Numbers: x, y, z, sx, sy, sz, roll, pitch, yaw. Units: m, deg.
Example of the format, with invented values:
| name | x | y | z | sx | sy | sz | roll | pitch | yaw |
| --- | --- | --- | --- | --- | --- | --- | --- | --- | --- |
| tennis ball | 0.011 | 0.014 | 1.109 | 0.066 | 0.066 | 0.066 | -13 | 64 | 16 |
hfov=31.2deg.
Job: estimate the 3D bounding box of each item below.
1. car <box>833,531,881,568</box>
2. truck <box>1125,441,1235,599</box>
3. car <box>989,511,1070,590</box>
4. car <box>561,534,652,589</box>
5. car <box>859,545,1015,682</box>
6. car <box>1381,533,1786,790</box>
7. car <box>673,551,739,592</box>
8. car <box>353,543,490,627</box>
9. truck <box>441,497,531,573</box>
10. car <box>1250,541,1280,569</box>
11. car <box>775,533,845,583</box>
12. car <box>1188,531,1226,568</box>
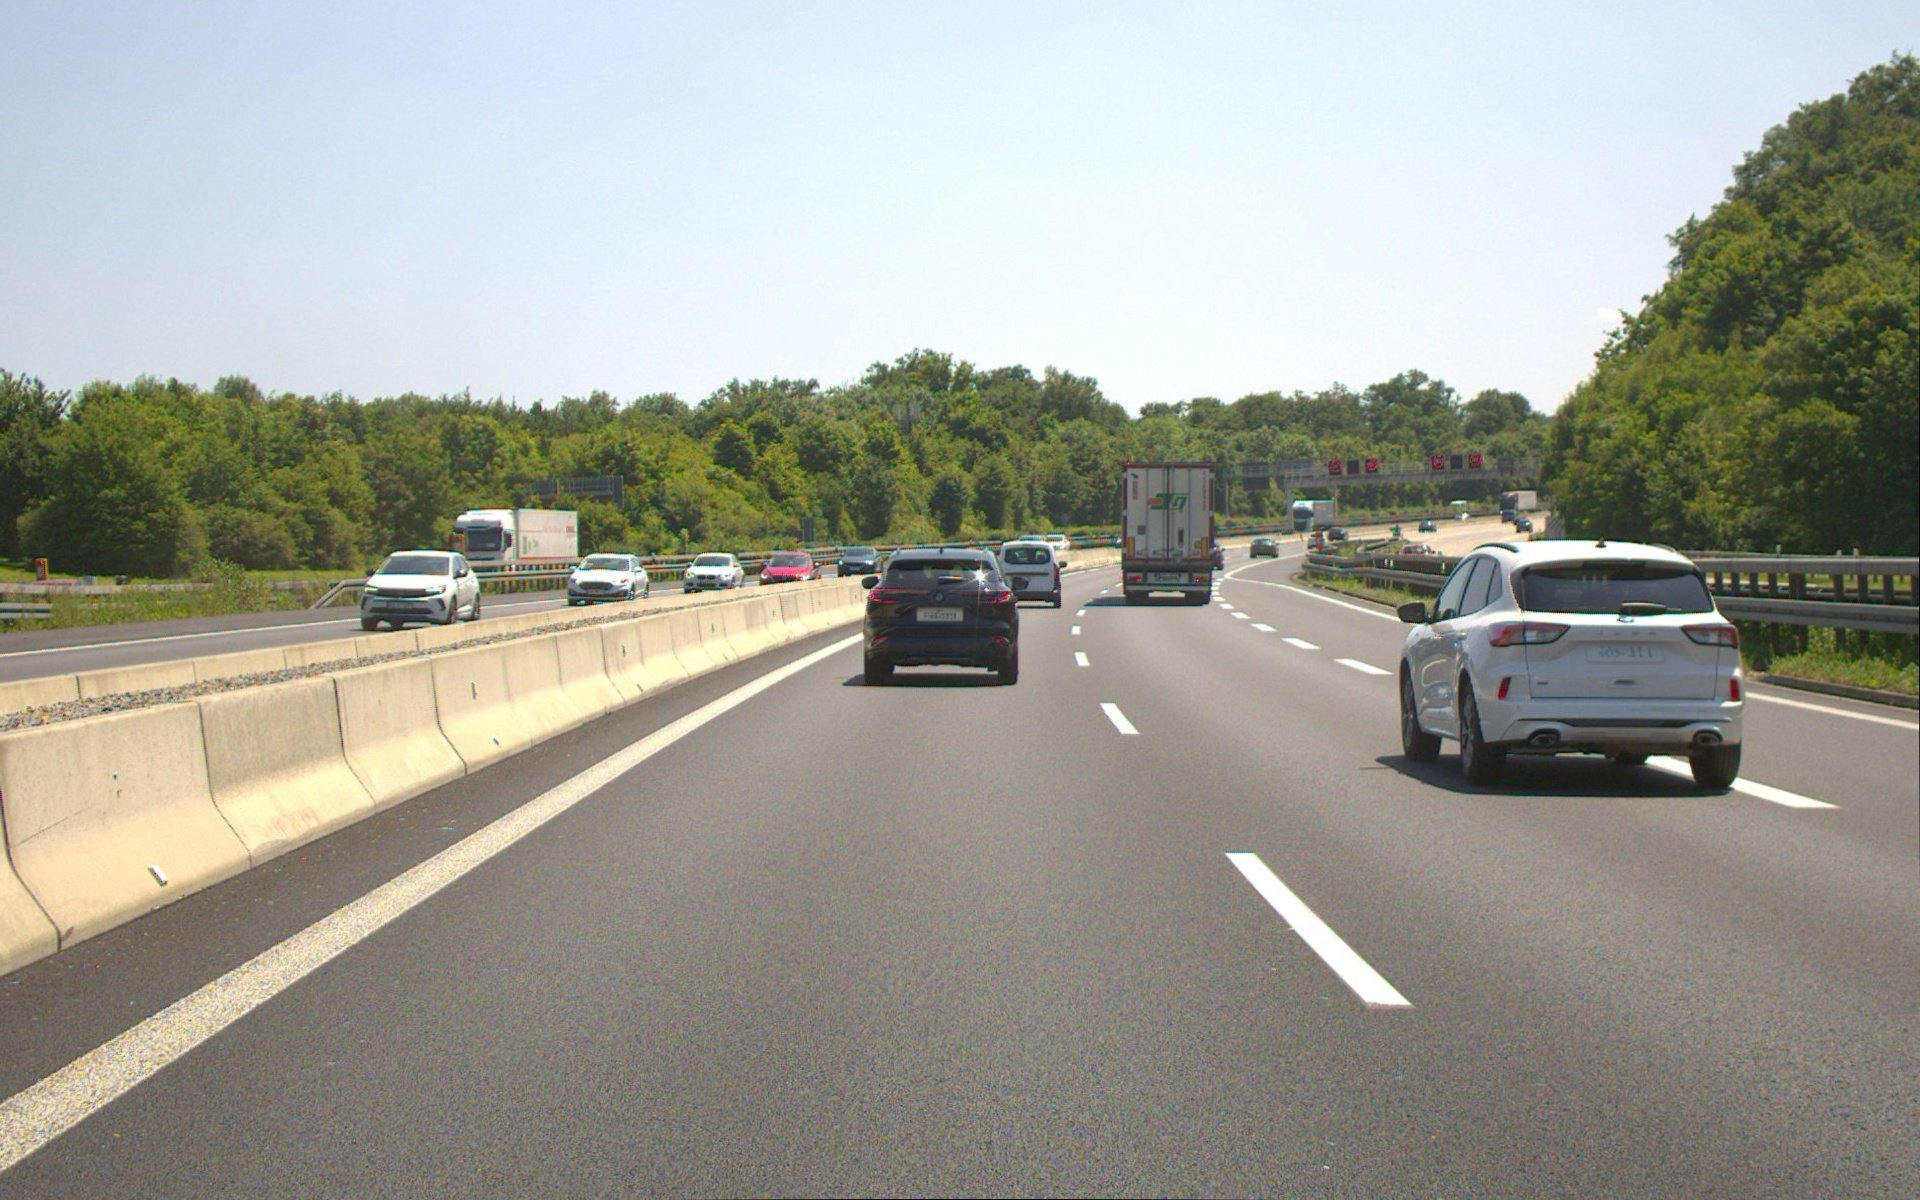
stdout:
| name | x | y | z | sx | sy | sz | roll | pitch | yaw |
| --- | --- | --- | --- | --- | --- | --- | --- | --- | --- |
| car | -5.030 | -2.470 | 168.653 | 1.994 | 1.818 | 4.905 | 0 | 1 | 3 |
| truck | 6.407 | -2.281 | 101.790 | 3.032 | 4.403 | 12.018 | 0 | 1 | 3 |
| car | 1.910 | -1.358 | 93.458 | 1.994 | 2.007 | 4.000 | -3 | 1 | 3 |
| car | -10.223 | -1.115 | 99.702 | 1.993 | 1.538 | 5.041 | 0 | 1 | 1 |
| car | -0.324 | 0.136 | 41.472 | 1.779 | 1.572 | 4.000 | 0 | 0 | -2 |
| car | 4.300 | 0.377 | 24.428 | 1.993 | 1.656 | 4.468 | 0 | 1 | -1 |
| car | -9.135 | -1.049 | 123.879 | 1.850 | 1.390 | 4.000 | 1 | 1 | 3 |
| car | -11.017 | -0.311 | 70.611 | 1.868 | 1.660 | 4.663 | 0 | 1 | 3 |
| truck | -22.081 | -2.995 | 160.408 | 3.083 | 3.491 | 5.409 | 0 | 0 | 5 |
| car | 21.962 | -3.238 | 247.599 | 1.994 | 2.007 | 3.999 | 0 | 0 | 8 |
| car | -5.018 | -1.413 | 115.679 | 1.993 | 1.653 | 4.634 | 0 | 1 | 2 |
| car | 13.661 | -2.767 | 190.414 | 1.994 | 2.007 | 4.000 | 0 | 0 | 3 |
